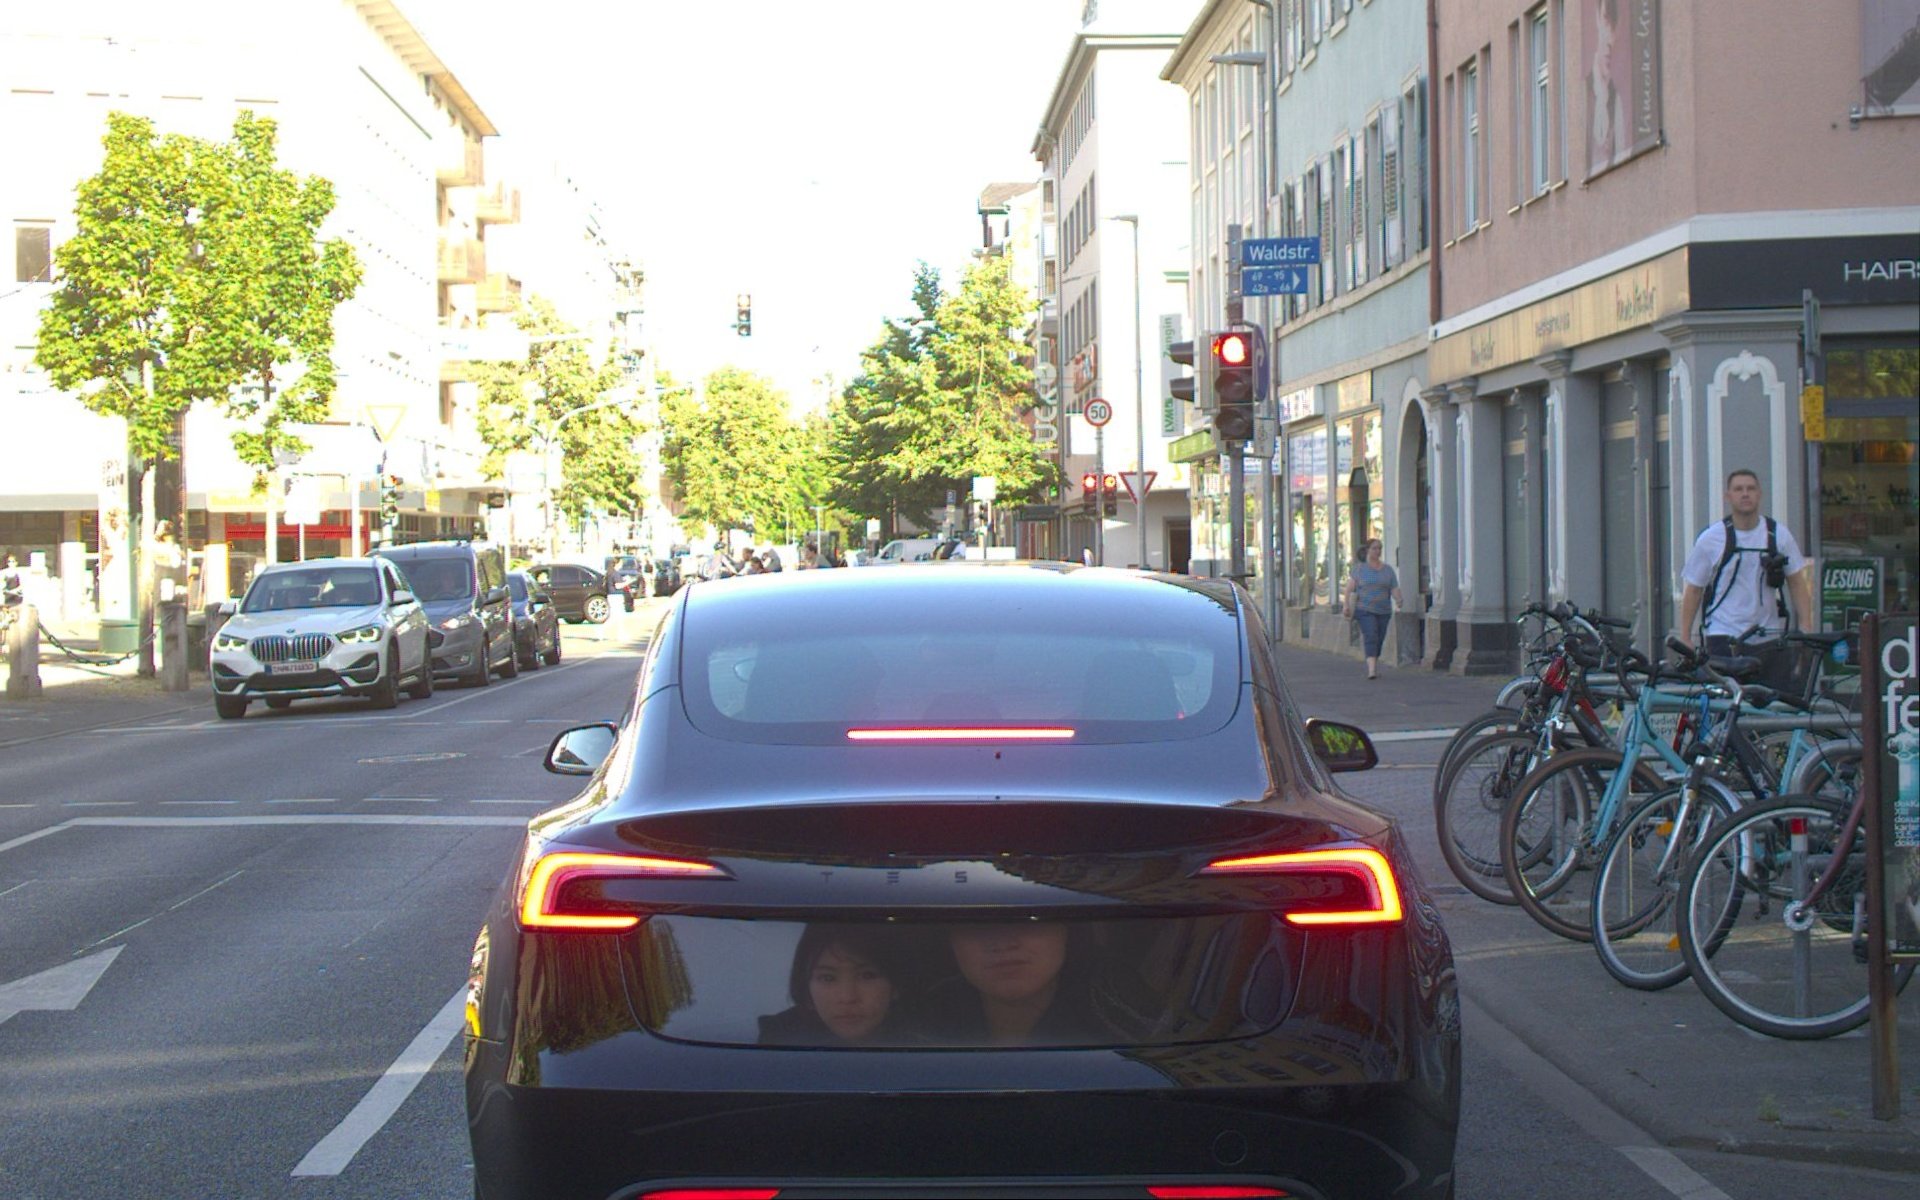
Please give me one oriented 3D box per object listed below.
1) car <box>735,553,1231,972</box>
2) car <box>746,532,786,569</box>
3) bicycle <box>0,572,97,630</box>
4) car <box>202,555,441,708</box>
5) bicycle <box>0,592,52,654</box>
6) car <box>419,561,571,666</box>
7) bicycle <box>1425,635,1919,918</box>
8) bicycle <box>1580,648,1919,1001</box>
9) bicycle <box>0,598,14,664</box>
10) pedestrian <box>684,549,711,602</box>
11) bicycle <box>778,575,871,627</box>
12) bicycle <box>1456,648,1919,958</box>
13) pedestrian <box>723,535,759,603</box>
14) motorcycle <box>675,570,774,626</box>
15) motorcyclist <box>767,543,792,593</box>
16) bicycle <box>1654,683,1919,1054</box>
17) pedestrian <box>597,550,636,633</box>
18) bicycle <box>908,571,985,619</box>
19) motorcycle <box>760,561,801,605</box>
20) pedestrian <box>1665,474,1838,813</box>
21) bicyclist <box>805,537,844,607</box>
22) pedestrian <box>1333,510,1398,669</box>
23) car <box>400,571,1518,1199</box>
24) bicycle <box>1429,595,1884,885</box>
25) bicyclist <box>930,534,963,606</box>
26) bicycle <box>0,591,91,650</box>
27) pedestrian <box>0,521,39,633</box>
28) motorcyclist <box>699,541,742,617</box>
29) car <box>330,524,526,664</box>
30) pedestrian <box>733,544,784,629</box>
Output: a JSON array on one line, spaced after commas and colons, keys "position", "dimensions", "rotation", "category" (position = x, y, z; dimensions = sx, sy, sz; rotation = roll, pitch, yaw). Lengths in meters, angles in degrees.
[{"position": [0.014, 0.537, 13.794], "dimensions": [1.718, 1.420, 3.758], "rotation": [0, 1, -2], "category": "car"}, {"position": [-10.549, -2.699, 187.298], "dimensions": [1.993, 2.007, 4.000], "rotation": [0, 1, -1], "category": "car"}, {"position": [-20.825, 0.015, 77.997], "dimensions": [2.361, 1.291, 0.513], "rotation": [1, 0, -26], "category": "bicycle"}, {"position": [-6.660, 0.293, 36.214], "dimensions": [1.789, 1.455, 3.757], "rotation": [-2, 1, 0], "category": "car"}, {"position": [-14.802, 0.345, 52.219], "dimensions": [1.864, 0.931, 0.606], "rotation": [0, 1, -1], "category": "bicycle"}, {"position": [-6.709, 0.169, 49.899], "dimensions": [1.715, 1.441, 3.845], "rotation": [1, 1, -1], "category": "car"}, {"position": [2.816, 0.692, 13.625], "dimensions": [1.873, 1.034, 0.547], "rotation": [-2, 0, 5], "category": "bicycle"}, {"position": [2.994, 0.706, 11.130], "dimensions": [1.873, 1.084, 0.414], "rotation": [-2, 0, 4], "category": "bicycle"}, {"position": [-14.737, 0.435, 49.832], "dimensions": [1.864, 0.931, 0.606], "rotation": [1, 0, -1], "category": "bicycle"}, {"position": [-7.028, -0.656, 92.037], "dimensions": [0.521, 1.417, 0.479], "rotation": [1, 0, -30], "category": "pedestrian"}, {"position": [-2.700, 0.018, 68.523], "dimensions": [1.784, 1.003, 0.472], "rotation": [1, 0, -16], "category": "bicycle"}, {"position": [2.779, 0.723, 12.451], "dimensions": [1.873, 1.034, 0.533], "rotation": [-2, 0, 4], "category": "bicycle"}, {"position": [-5.849, -0.831, 91.829], "dimensions": [0.671, 1.782, 0.712], "rotation": [0, 0, -36], "category": "pedestrian"}, {"position": [-4.755, -0.053, 69.418], "dimensions": [1.926, 1.107, 0.519], "rotation": [0, 1, -26], "category": "motorcycle"}, {"position": [-4.485, -0.797, 85.363], "dimensions": [0.489, 1.249, 0.355], "rotation": [0, 0, -38], "category": "motorcyclist"}, {"position": [3.000, 0.759, 9.983], "dimensions": [1.873, 1.034, 0.353], "rotation": [-2, 0, 6], "category": "bicycle"}, {"position": [-6.403, -0.157, 64.082], "dimensions": [0.622, 1.532, 0.514], "rotation": [1, 0, -18], "category": "pedestrian"}, {"position": [-0.281, -0.106, 72.500], "dimensions": [1.556, 1.009, 0.484], "rotation": [1, 0, -24], "category": "bicycle"}, {"position": [-4.455, -0.428, 85.391], "dimensions": [0.977, 1.082, 0.356], "rotation": [0, 1, -37], "category": "motorcycle"}, {"position": [4.219, 0.223, 18.380], "dimensions": [0.750, 1.759, 0.836], "rotation": [1, 0, 4], "category": "pedestrian"}, {"position": [-2.706, -0.553, 68.508], "dimensions": [0.669, 1.390, 0.462], "rotation": [1, 0, -16], "category": "bicyclist"}, {"position": [4.458, -0.118, 37.835], "dimensions": [0.706, 1.736, 0.540], "rotation": [0, 1, 7], "category": "pedestrian"}, {"position": [-0.024, 0.660, 7.612], "dimensions": [1.822, 1.437, 4.000], "rotation": [0, 1, -1], "category": "car"}, {"position": [2.966, 0.595, 14.744], "dimensions": [1.828, 1.165, 0.505], "rotation": [-2, 0, 5], "category": "bicycle"}, {"position": [-0.280, -0.631, 72.492], "dimensions": [0.522, 1.498, 0.476], "rotation": [1, 0, -24], "category": "bicyclist"}, {"position": [-14.830, 0.320, 54.667], "dimensions": [1.864, 0.931, 0.606], "rotation": [0, 1, -1], "category": "bicycle"}, {"position": [-17.343, -0.424, 62.499], "dimensions": [1.057, 2.007, 1.055], "rotation": [1, 0, -20], "category": "pedestrian"}, {"position": [-4.838, -0.432, 69.371], "dimensions": [0.719, 1.523, 0.516], "rotation": [0, 1, -26], "category": "motorcyclist"}, {"position": [-6.518, -0.109, 42.544], "dimensions": [1.787, 1.640, 4.403], "rotation": [0, 1, -1], "category": "car"}, {"position": [-3.907, -0.265, 66.513], "dimensions": [0.754, 1.626, 0.956], "rotation": [1, 0, -18], "category": "pedestrian"}]
